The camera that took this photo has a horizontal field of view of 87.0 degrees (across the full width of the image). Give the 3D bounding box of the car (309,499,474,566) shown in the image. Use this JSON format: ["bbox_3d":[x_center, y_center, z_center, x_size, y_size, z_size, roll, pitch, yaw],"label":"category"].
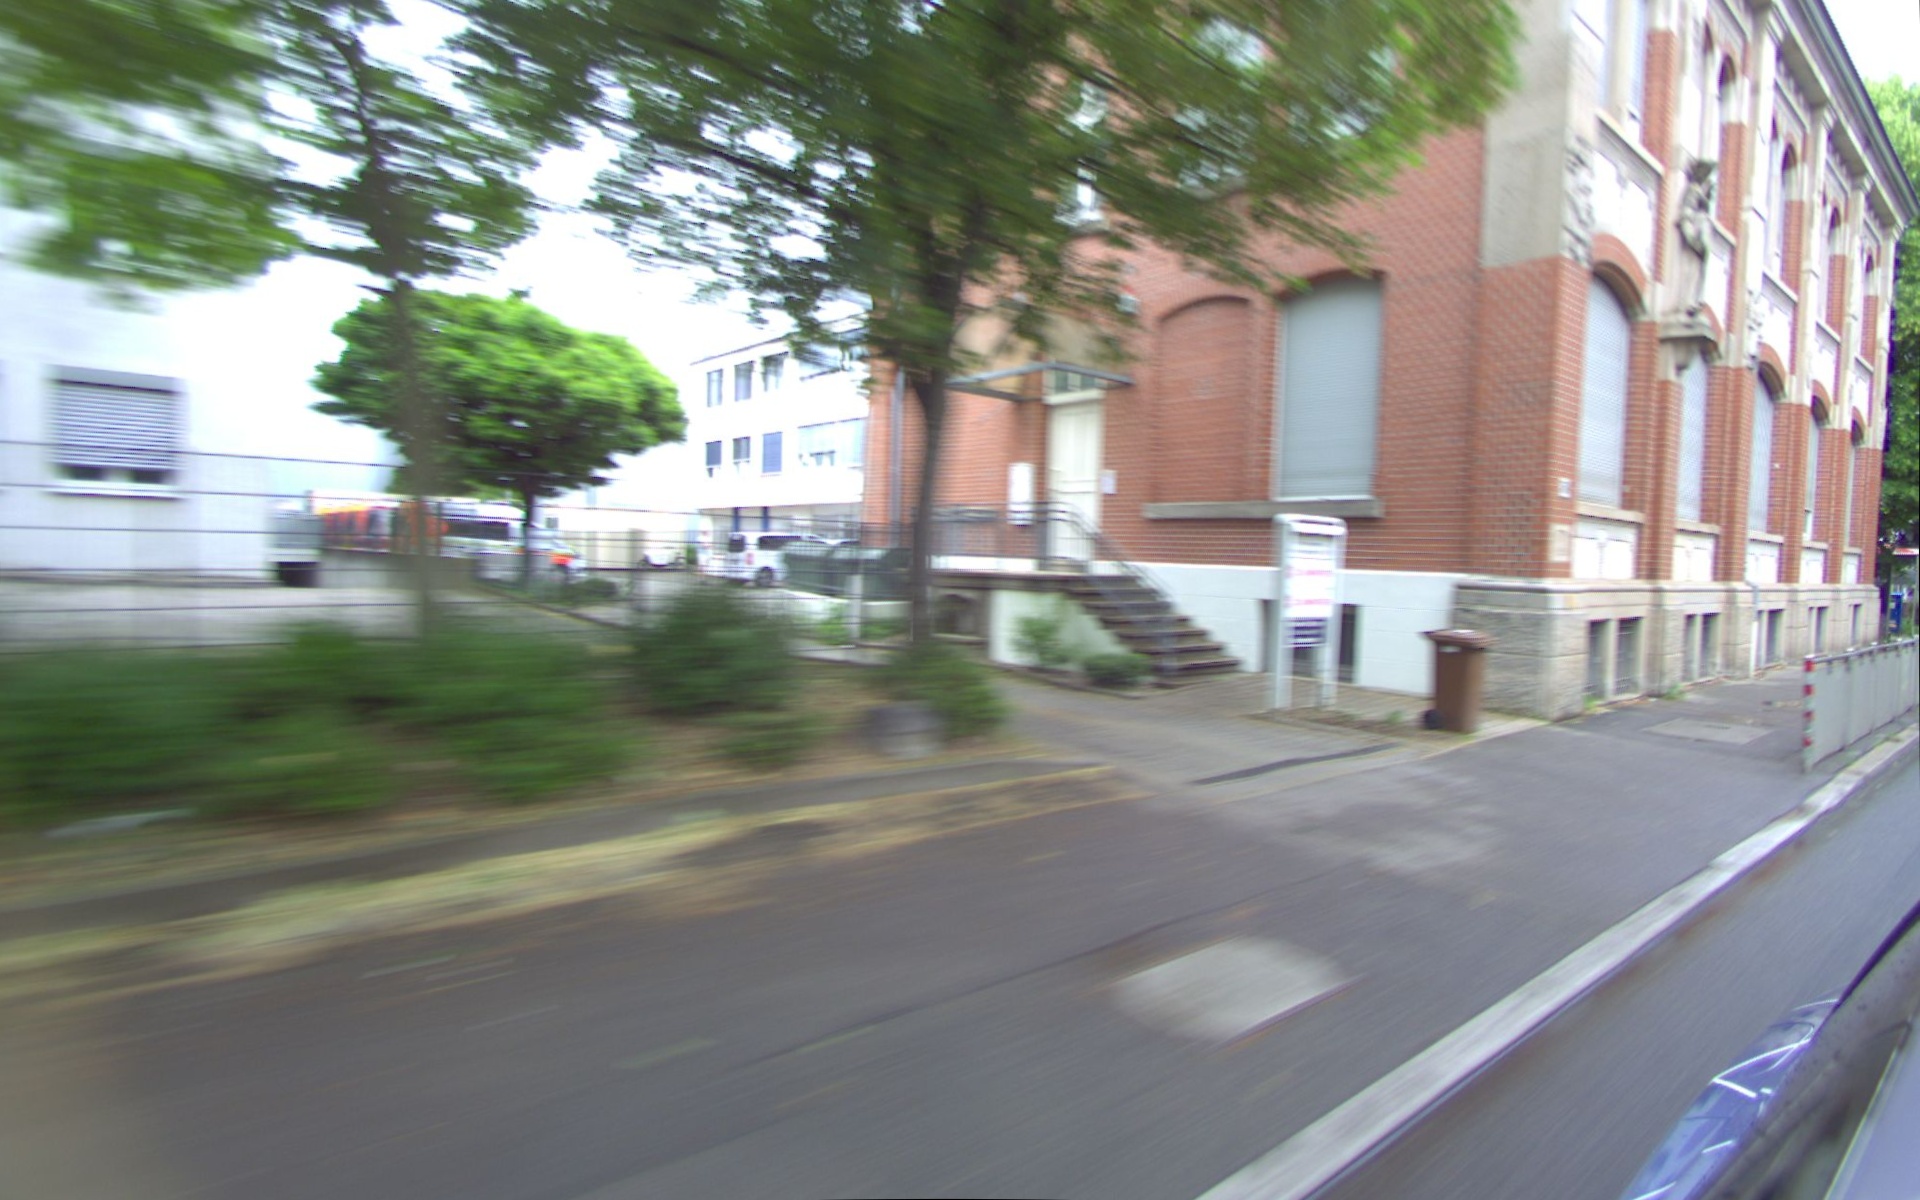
[{"bbox_3d":[-21.618,-2.486,38.590,5.204,2.358,2.035,-2,1,-40],"label":"car"}]

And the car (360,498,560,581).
[{"bbox_3d":[-15.343,-1.790,31.220,5.204,2.358,2.035,-2,1,-40],"label":"car"}]

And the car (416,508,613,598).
[{"bbox_3d":[-10.534,-1.071,24.064,3.927,1.973,1.819,-1,1,-40],"label":"car"}]

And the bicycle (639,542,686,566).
[{"bbox_3d":[-13.908,-2.145,47.355,2.083,1.124,0.559,-1,1,-38],"label":"bicycle"}]

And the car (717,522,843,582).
[{"bbox_3d":[-6.281,-1.629,35.474,3.927,1.973,1.912,-1,1,-40],"label":"car"}]

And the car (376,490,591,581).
[{"bbox_3d":[-13.486,-1.756,28.871,5.204,2.358,2.035,-2,1,-40],"label":"car"}]

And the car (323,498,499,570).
[{"bbox_3d":[-19.486,-2.261,36.033,5.204,2.358,2.035,-2,1,-40],"label":"car"}]

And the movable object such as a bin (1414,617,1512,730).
[{"bbox_3d":[4.629,0.657,9.320,0.562,0.944,0.592,0,4,-41],"label":"movable object such as a bin"}]

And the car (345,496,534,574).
[{"bbox_3d":[-17.062,-2.063,33.327,5.204,2.358,2.035,-2,1,-40],"label":"car"}]
